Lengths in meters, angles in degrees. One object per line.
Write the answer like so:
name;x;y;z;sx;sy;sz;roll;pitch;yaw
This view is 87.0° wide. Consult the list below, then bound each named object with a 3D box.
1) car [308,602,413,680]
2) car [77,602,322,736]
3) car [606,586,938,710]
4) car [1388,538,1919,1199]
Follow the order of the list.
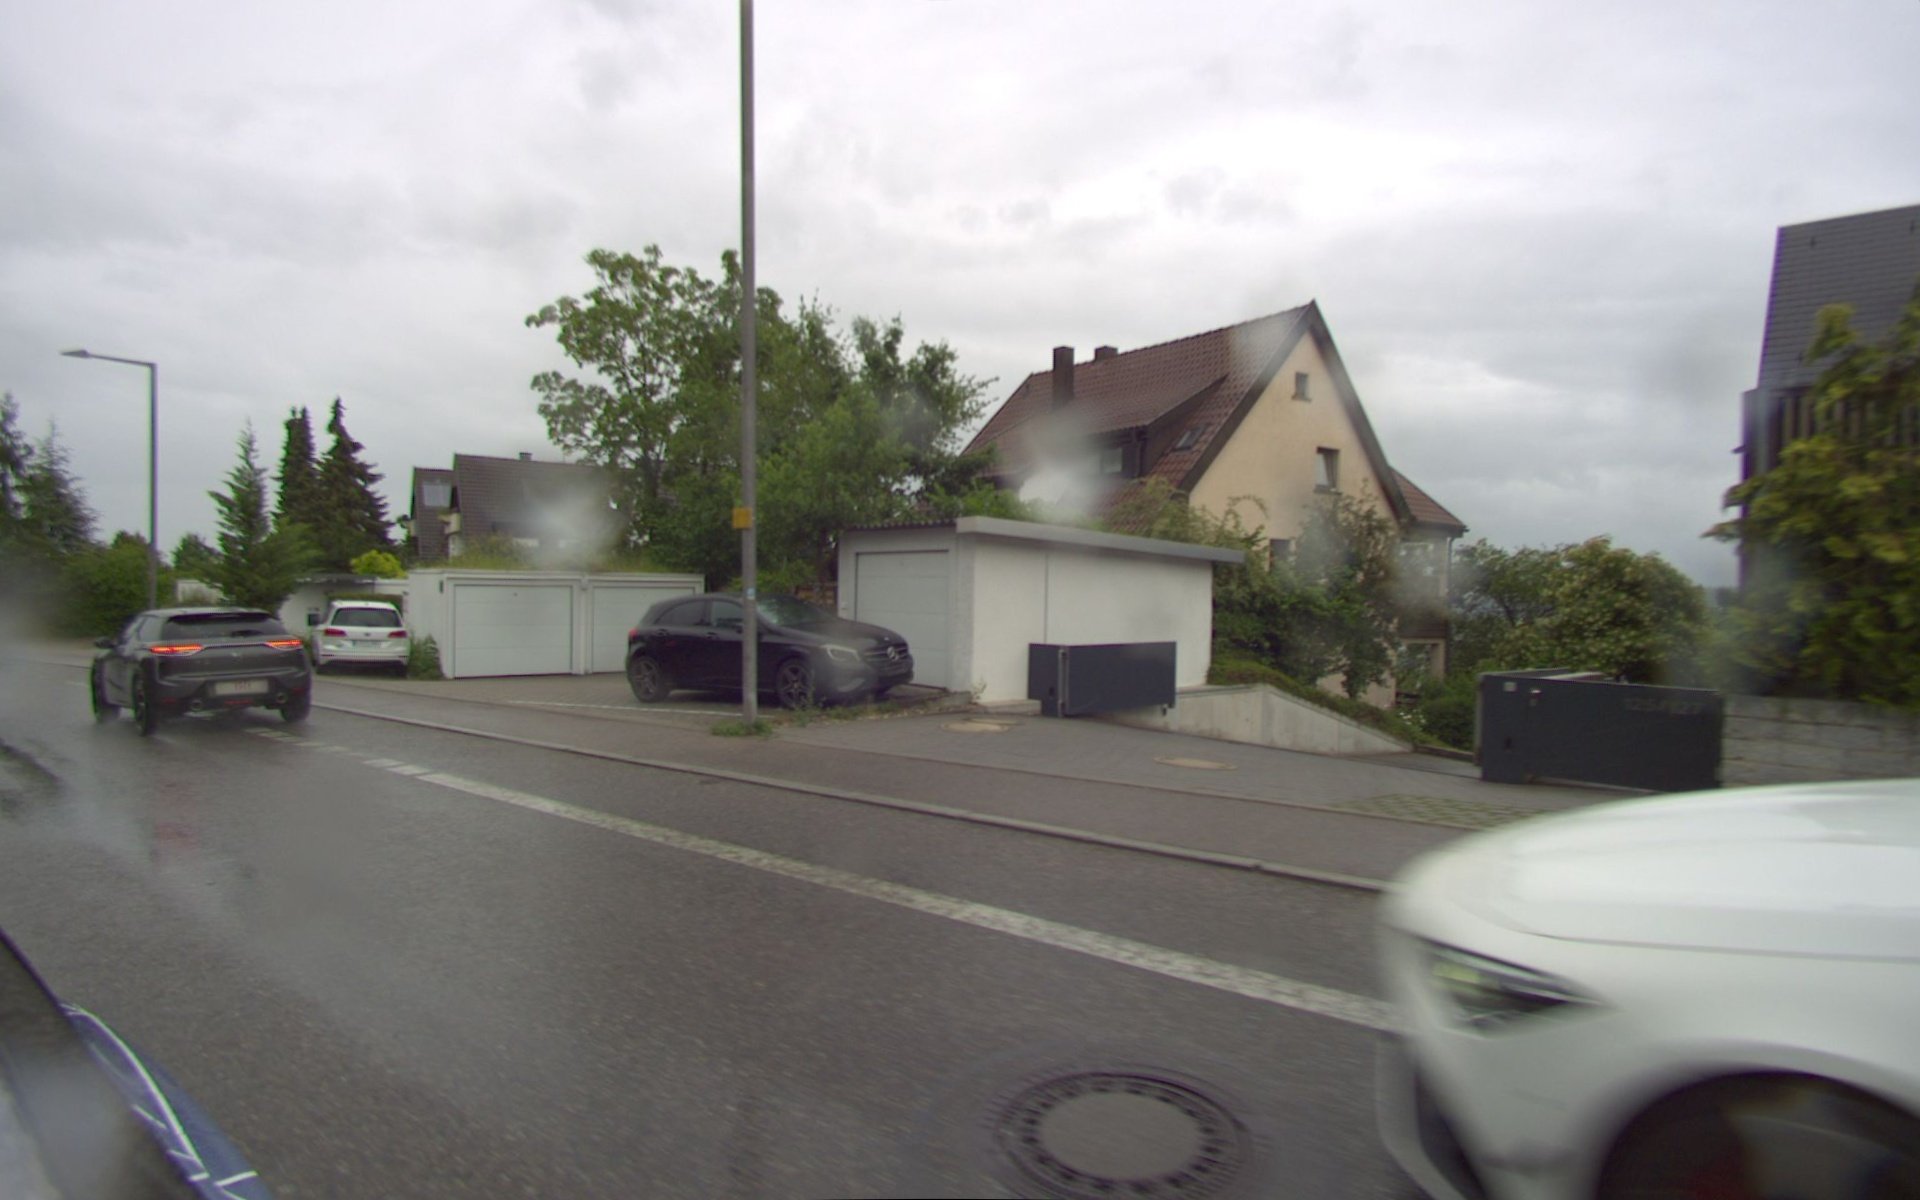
car;-13.782;0.866;23.147;1.682;1.565;4.399;-1;0;-35
car;-10.108;0.811;13.368;3.697;1.480;1.832;-1;0;41
car;-2.571;0.579;13.528;4.245;1.416;1.820;-1;0;32
car;3.070;0.608;1.325;4.266;1.471;1.828;-1;0;41
